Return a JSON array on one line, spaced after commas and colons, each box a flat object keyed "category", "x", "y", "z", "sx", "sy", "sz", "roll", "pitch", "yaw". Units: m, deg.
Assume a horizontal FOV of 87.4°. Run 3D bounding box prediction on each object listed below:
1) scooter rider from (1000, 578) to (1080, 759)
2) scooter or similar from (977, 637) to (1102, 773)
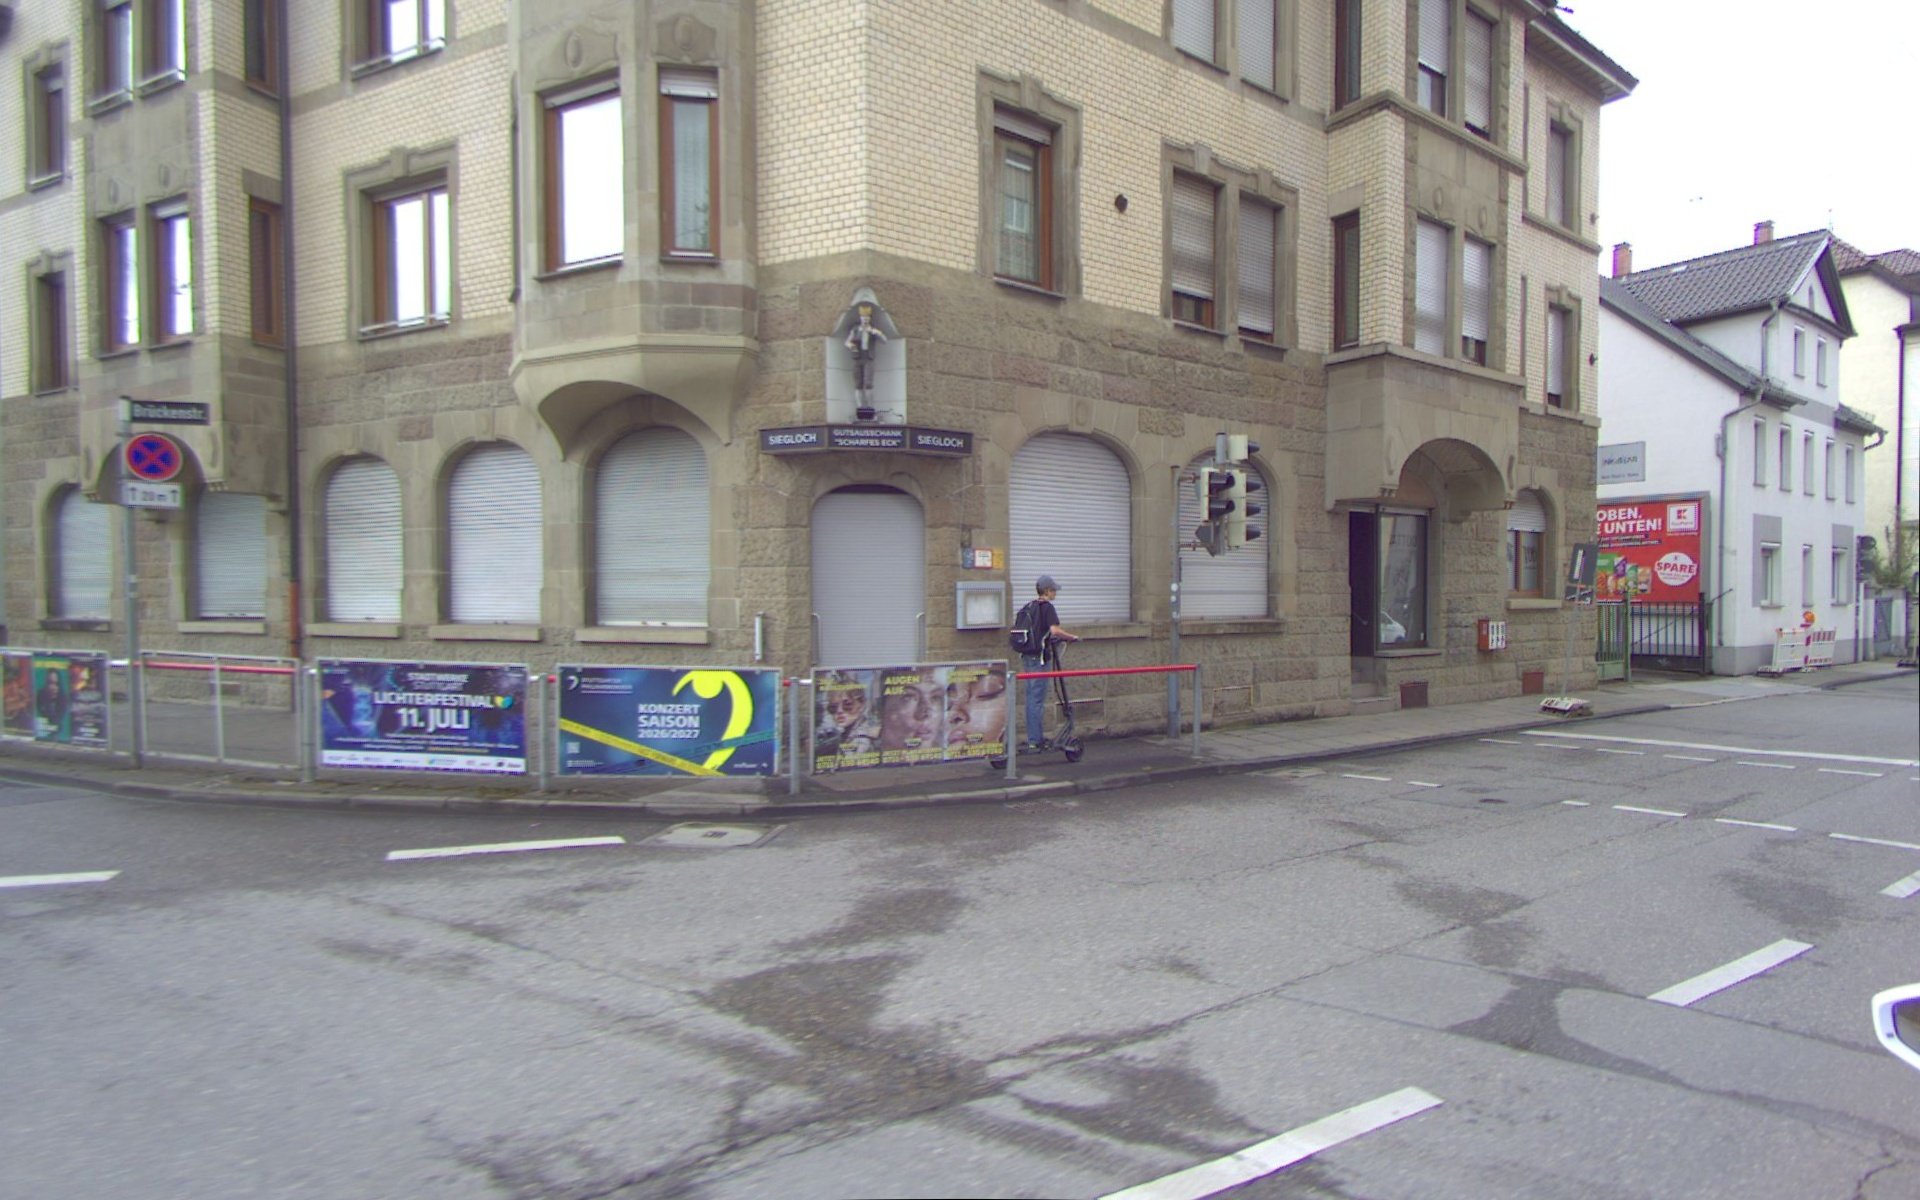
[{"category": "scooter rider", "x": 0.787, "y": 0.658, "z": 9.967, "sx": 0.570, "sy": 1.728, "sz": 0.485, "roll": 1, "pitch": 3, "yaw": -27}, {"category": "scooter or similar", "x": 0.802, "y": 1.021, "z": 10.046, "sx": 1.211, "sy": 1.259, "sz": 0.376, "roll": 0, "pitch": 2, "yaw": -28}]
